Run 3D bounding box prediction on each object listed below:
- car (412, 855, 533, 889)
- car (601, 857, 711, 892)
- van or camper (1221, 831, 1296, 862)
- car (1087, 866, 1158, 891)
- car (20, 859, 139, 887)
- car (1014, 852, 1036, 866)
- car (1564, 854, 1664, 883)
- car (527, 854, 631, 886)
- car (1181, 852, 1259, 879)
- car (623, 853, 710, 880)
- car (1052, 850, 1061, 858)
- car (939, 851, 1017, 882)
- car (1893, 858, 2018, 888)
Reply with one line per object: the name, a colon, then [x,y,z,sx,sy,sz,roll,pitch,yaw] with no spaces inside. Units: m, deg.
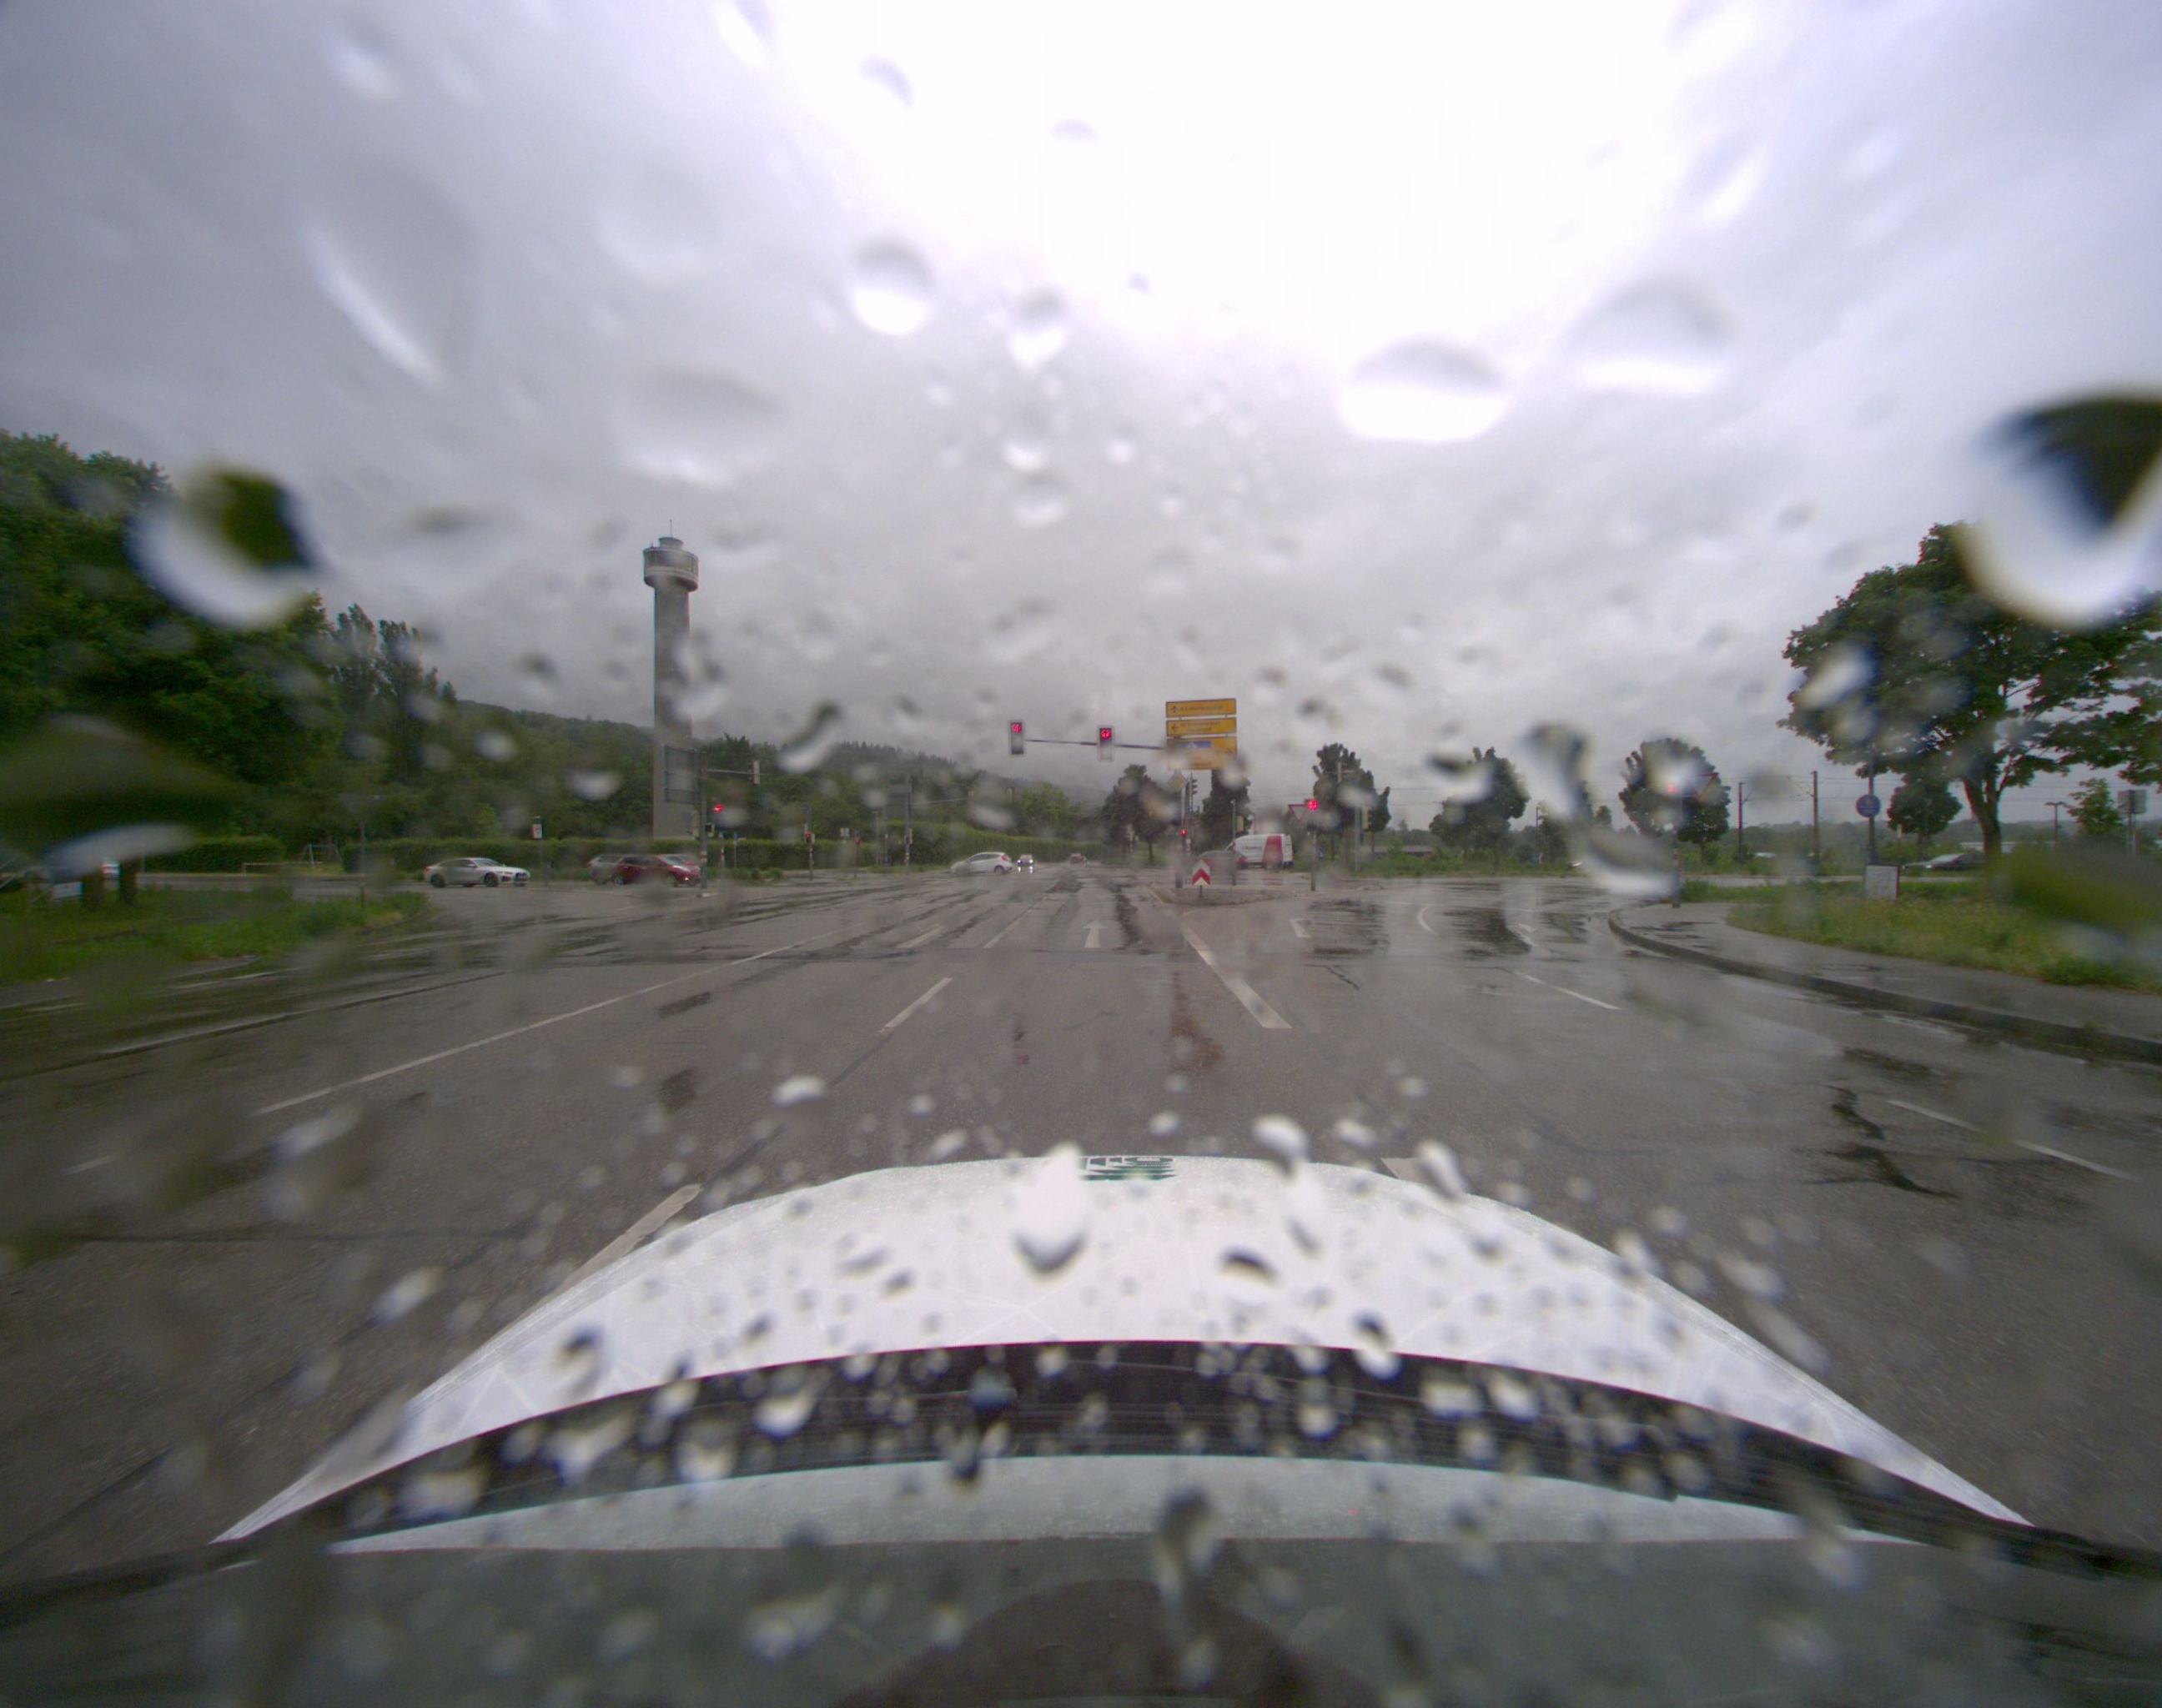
car: [-29.774,0.878,39.898,4.853,1.553,1.804,-1,0,8]
car: [-20.250,0.971,38.861,4.354,1.579,1.735,0,0,5]
van or camper: [12.891,-0.565,59.206,4.802,2.169,2.174,0,1,33]
car: [2.848,1.668,55.244,4.648,1.553,1.825,-1,0,4]
car: [-60.608,1.155,49.359,4.378,1.579,1.726,-1,1,-12]
car: [-6.759,0.631,98.988,1.870,1.573,4.652,-3,0,5]
car: [31.346,0.840,47.977,4.648,1.553,1.825,-1,0,4]
car: [-26.746,0.832,43.434,4.501,1.579,1.917,0,1,8]
car: [8.624,0.724,50.951,4.648,1.553,1.825,-1,0,4]
car: [-27.038,0.773,53.221,4.670,1.639,1.816,-1,0,-10]
car: [-4.587,-0.064,153.734,1.553,1.481,3.361,0,1,1]
car: [-6.575,0.782,52.254,4.648,1.915,1.918,-1,0,4]
car: [49.052,1.061,45.759,4.641,1.553,1.827,-1,0,9]
